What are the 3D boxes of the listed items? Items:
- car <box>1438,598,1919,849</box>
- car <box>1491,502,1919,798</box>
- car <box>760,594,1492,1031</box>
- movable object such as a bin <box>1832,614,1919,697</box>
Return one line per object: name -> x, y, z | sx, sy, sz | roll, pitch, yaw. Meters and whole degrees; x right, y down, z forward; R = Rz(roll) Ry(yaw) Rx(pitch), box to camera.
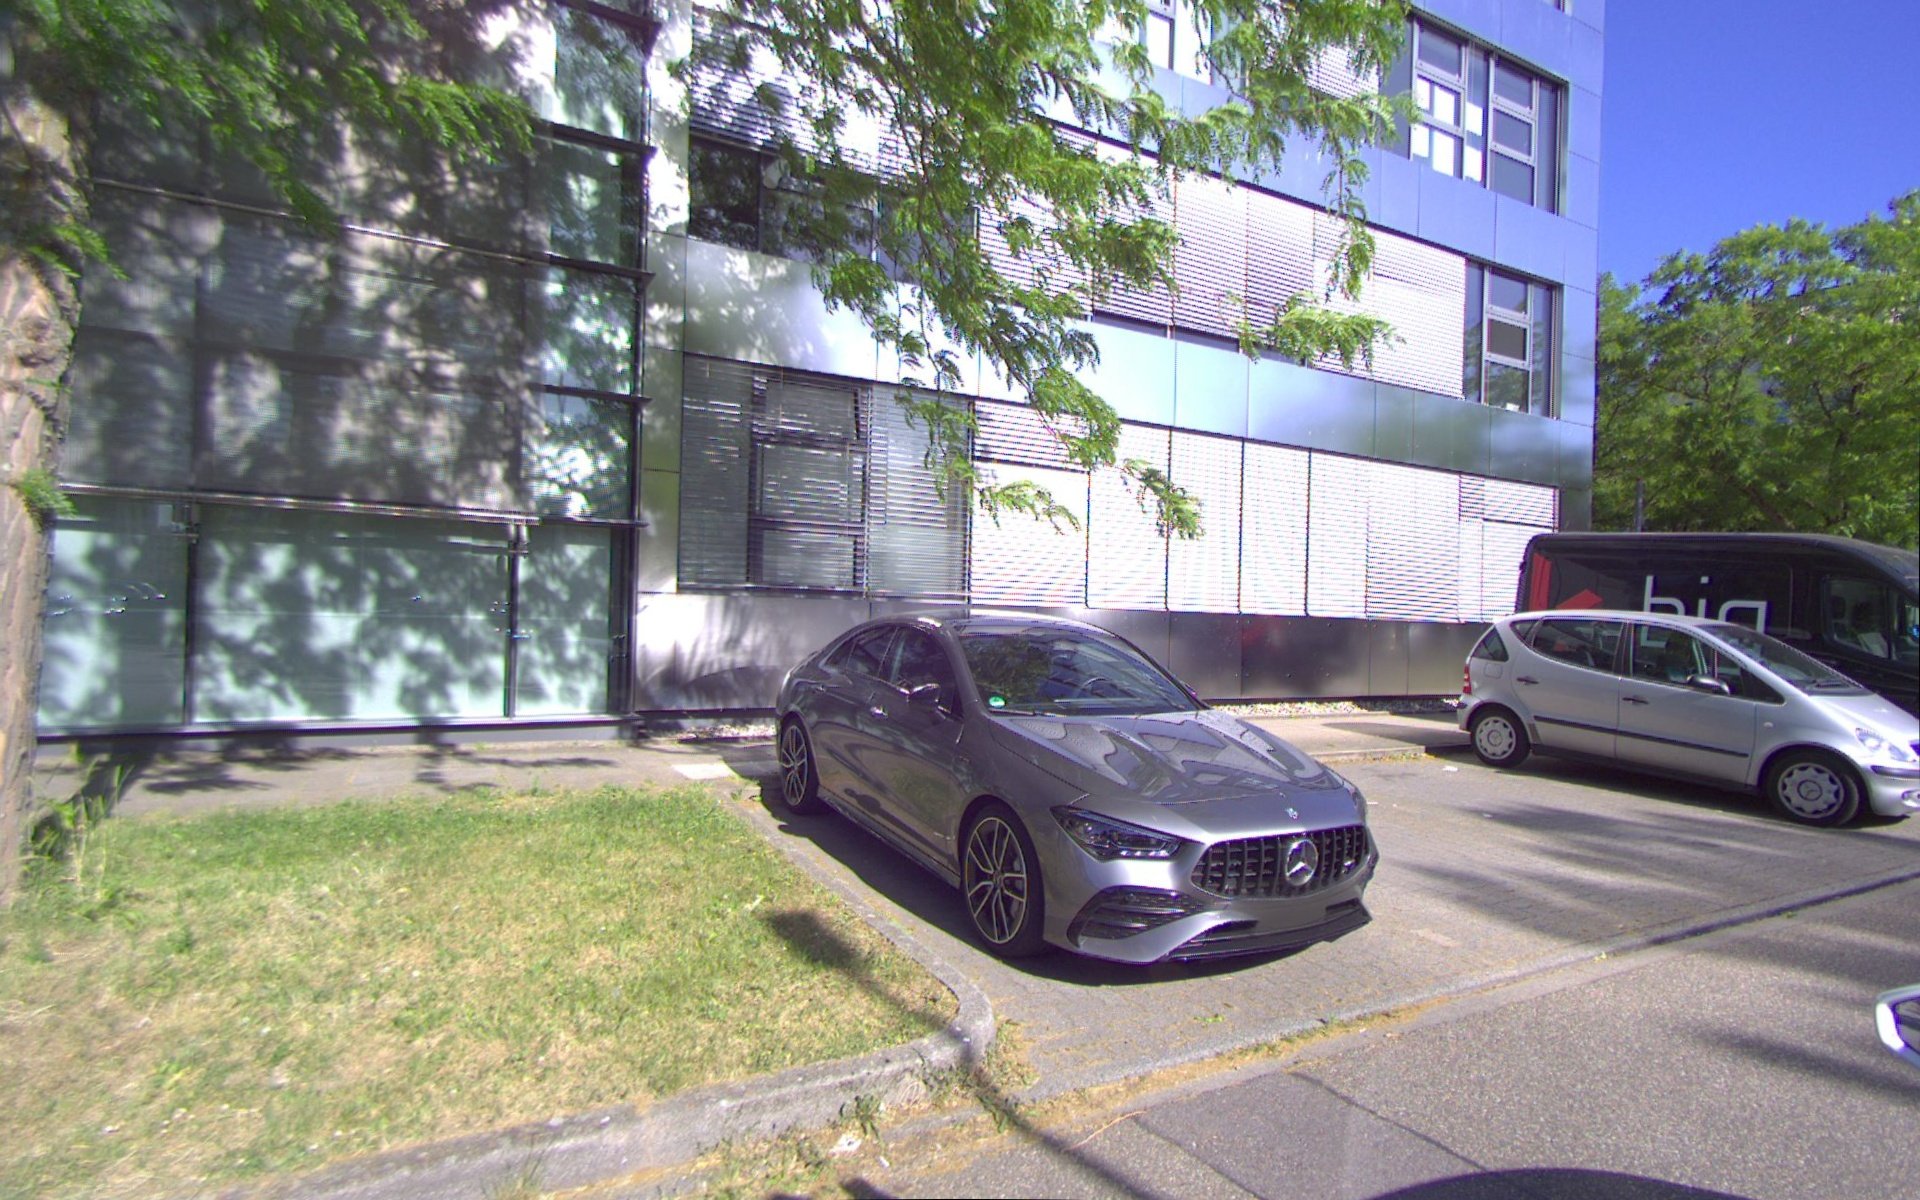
car -> 6.793, 0.918, 9.334 | 1.870, 1.667, 3.813 | 2, 1, -30
car -> 8.975, 0.430, 10.727 | 2.204, 2.658, 5.431 | 2, 1, -28
car -> 0.421, 0.766, 5.950 | 1.869, 1.368, 4.515 | 2, 1, -28
movable object such as a bin -> 20.215, 1.210, 21.734 | 1.503, 1.618, 1.409 | 4, 2, -25
